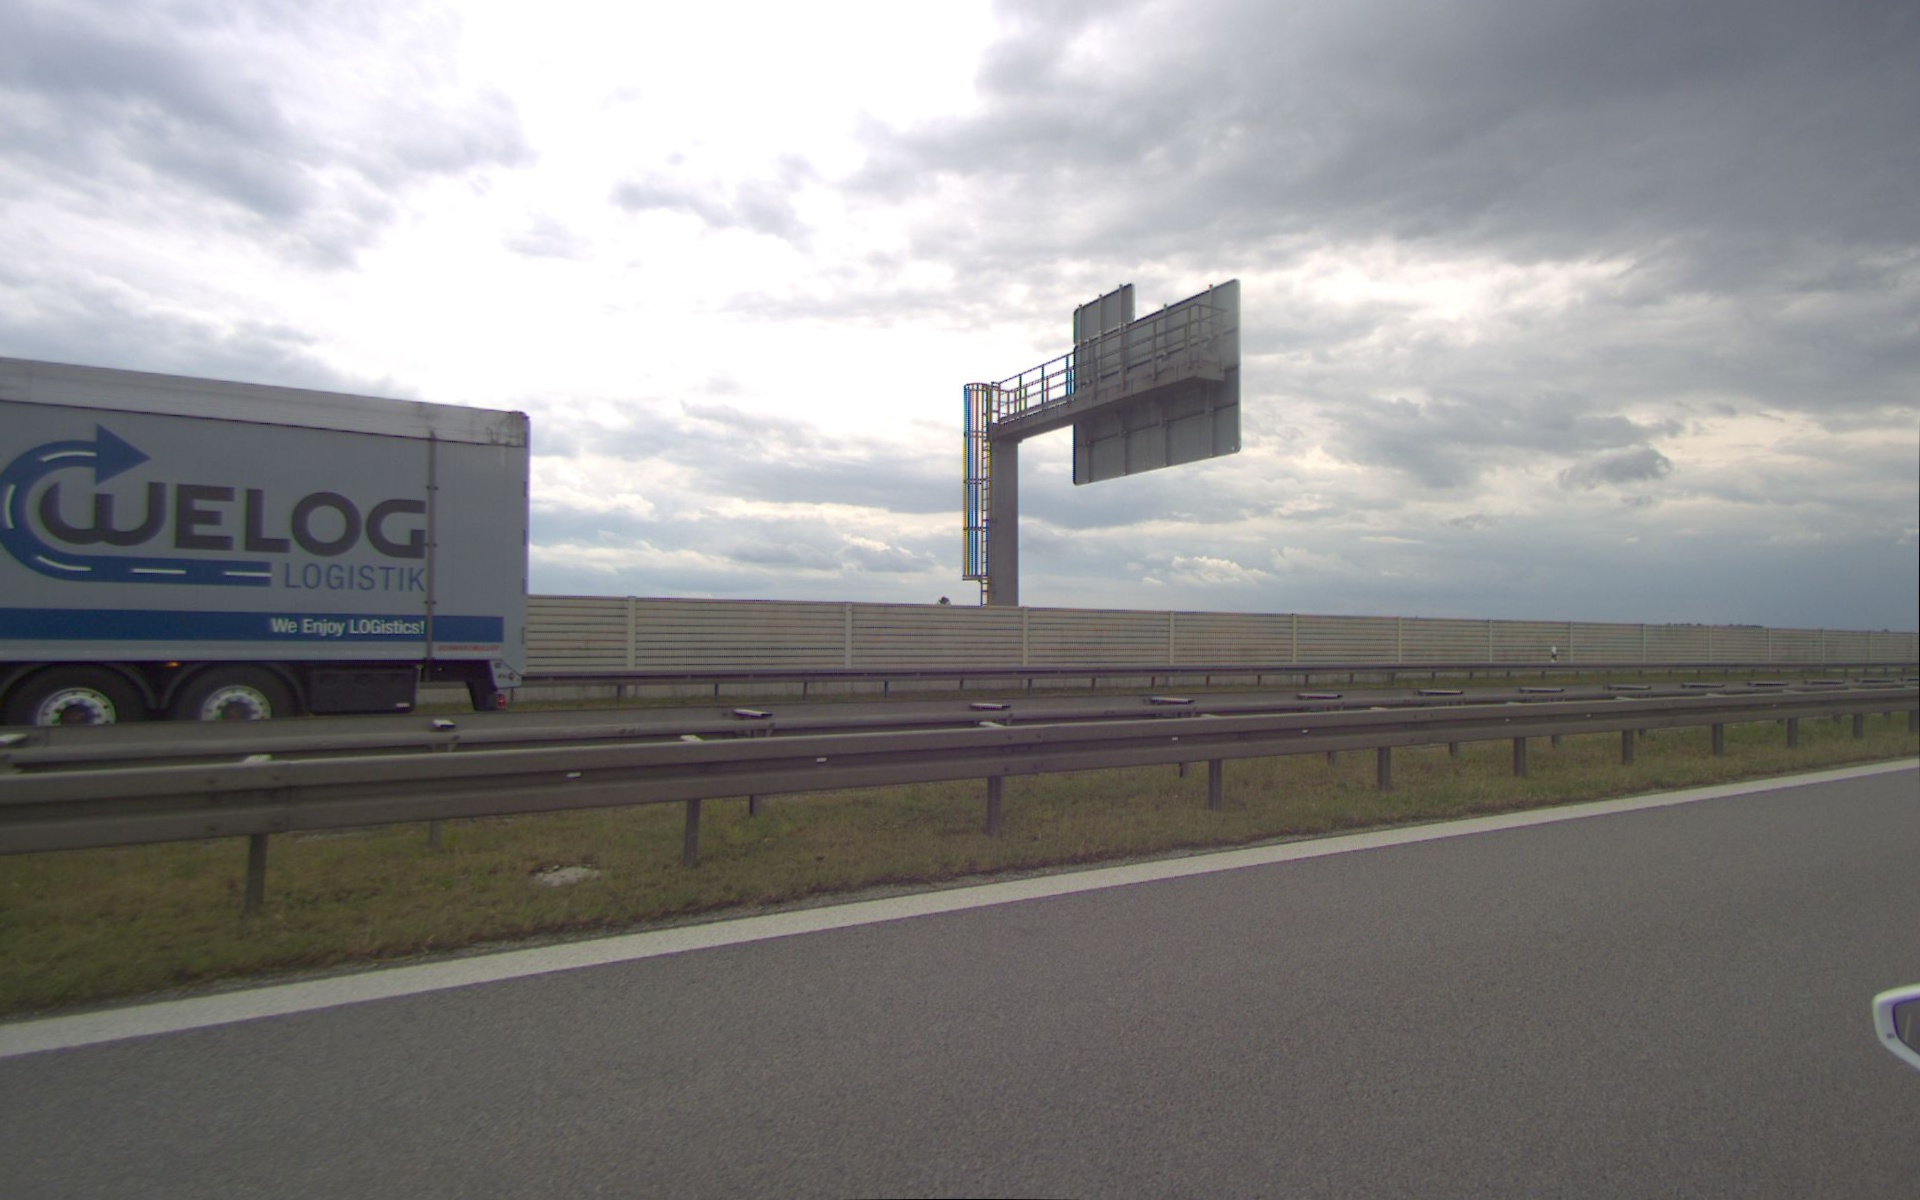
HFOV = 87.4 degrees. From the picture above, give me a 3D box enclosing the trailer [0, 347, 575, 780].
[{"bbox_3d":[-11.443,-0.343,10.039,13.861,4.129,3.164,2,-3,-31],"label":"trailer"}]
